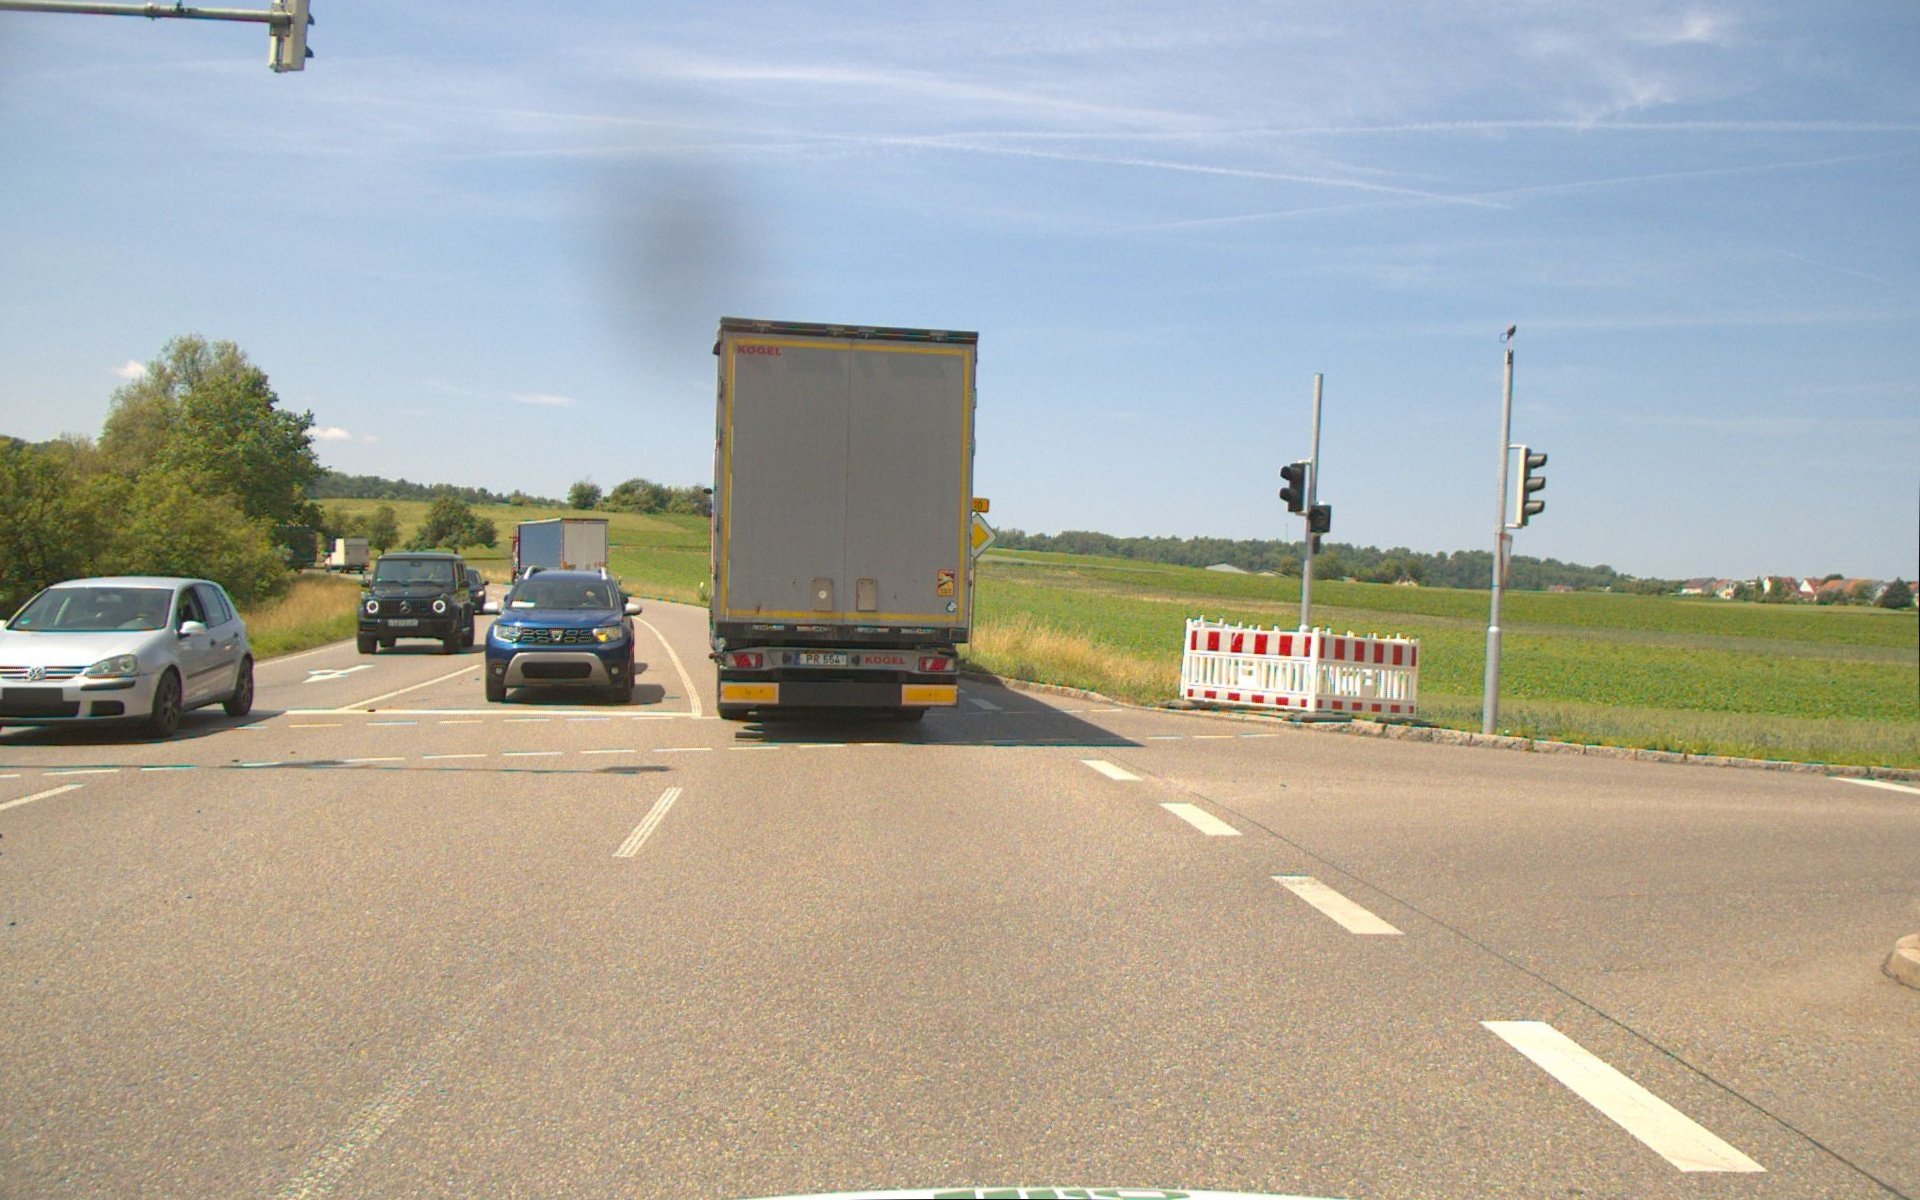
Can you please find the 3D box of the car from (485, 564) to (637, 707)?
[{"bbox_3d":[-5.128,0.417,21.673,1.739,1.687,3.989,1,0,-11],"label":"car"}]

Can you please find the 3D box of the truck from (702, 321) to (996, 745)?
[{"bbox_3d":[-1.655,-0.652,20.611,2.755,4.015,9.575,1,0,-7],"label":"truck"}]

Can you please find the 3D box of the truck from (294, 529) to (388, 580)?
[{"bbox_3d":[-55.457,-3.959,147.852,3.616,4.201,12.904,3,-2,-40],"label":"truck"}]

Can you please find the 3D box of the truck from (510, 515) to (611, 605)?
[{"bbox_3d":[-22.994,-2.177,94.320,2.921,4.664,16.198,1,0,-23],"label":"truck"}]

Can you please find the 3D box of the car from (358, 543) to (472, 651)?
[{"bbox_3d":[-11.198,-0.066,34.272,1.962,2.041,5.142,1,0,-16],"label":"car"}]

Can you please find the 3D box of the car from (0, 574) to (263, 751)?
[{"bbox_3d":[-8.279,0.532,16.314,1.739,1.522,3.990,0,0,-10],"label":"car"}]

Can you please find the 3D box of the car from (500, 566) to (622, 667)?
[{"bbox_3d":[-7.178,0.276,30.072,1.738,1.687,3.993,1,0,-8],"label":"car"}]

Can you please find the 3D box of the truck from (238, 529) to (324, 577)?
[{"bbox_3d":[-65.865,-4.482,160.182,3.510,4.315,13.202,3,-2,-41],"label":"truck"}]
